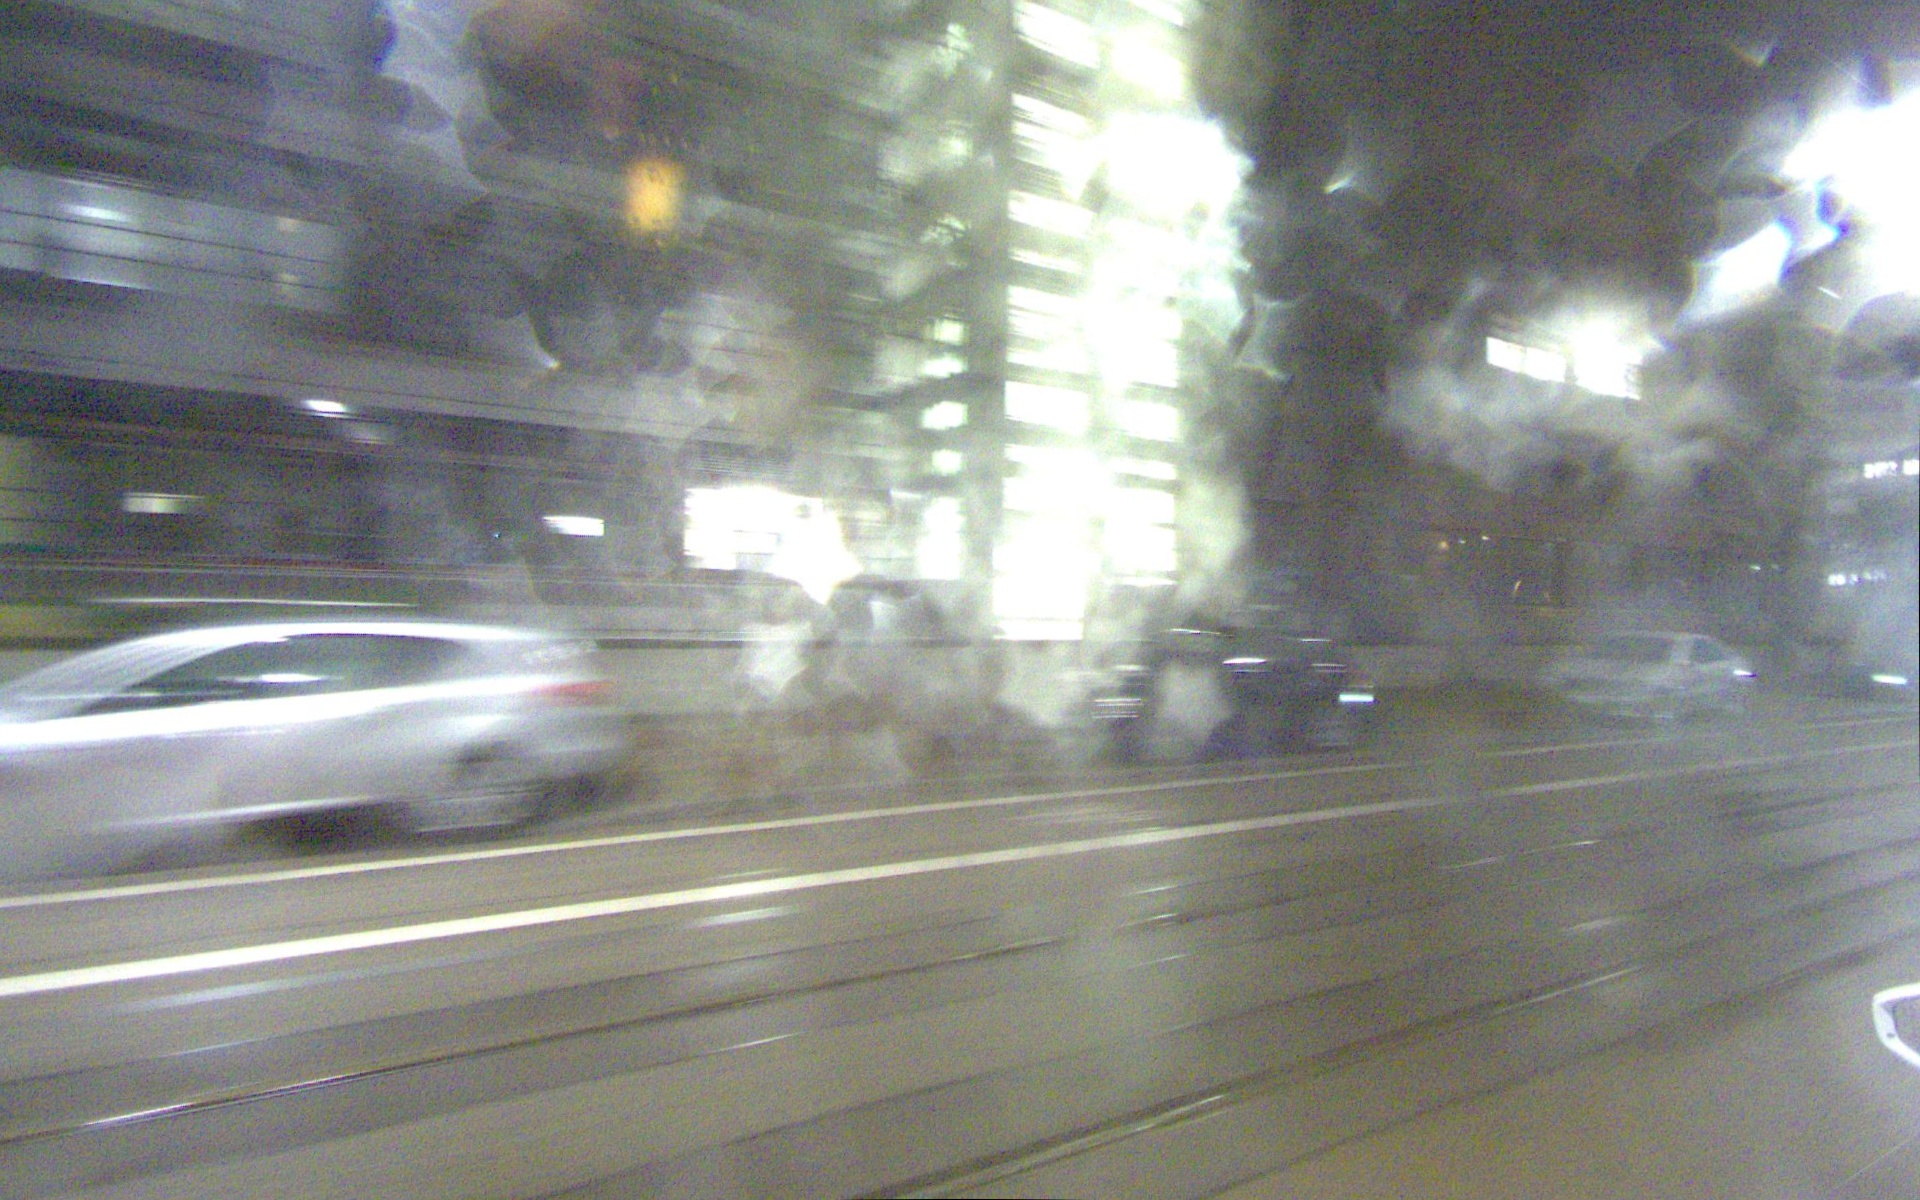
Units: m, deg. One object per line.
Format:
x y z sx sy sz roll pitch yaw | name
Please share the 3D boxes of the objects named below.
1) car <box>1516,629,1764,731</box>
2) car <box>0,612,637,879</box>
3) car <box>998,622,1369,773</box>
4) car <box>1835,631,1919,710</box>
11.627 1.275 17.051 4.910 1.482 1.876 2 -1 -35 | car
-4.763 0.846 6.903 4.557 1.459 1.763 2 -1 -32 | car
2.665 1.012 11.636 4.165 1.442 1.829 2 -1 -34 | car
22.110 1.611 23.049 4.353 1.566 1.869 2 2 -33 | car
